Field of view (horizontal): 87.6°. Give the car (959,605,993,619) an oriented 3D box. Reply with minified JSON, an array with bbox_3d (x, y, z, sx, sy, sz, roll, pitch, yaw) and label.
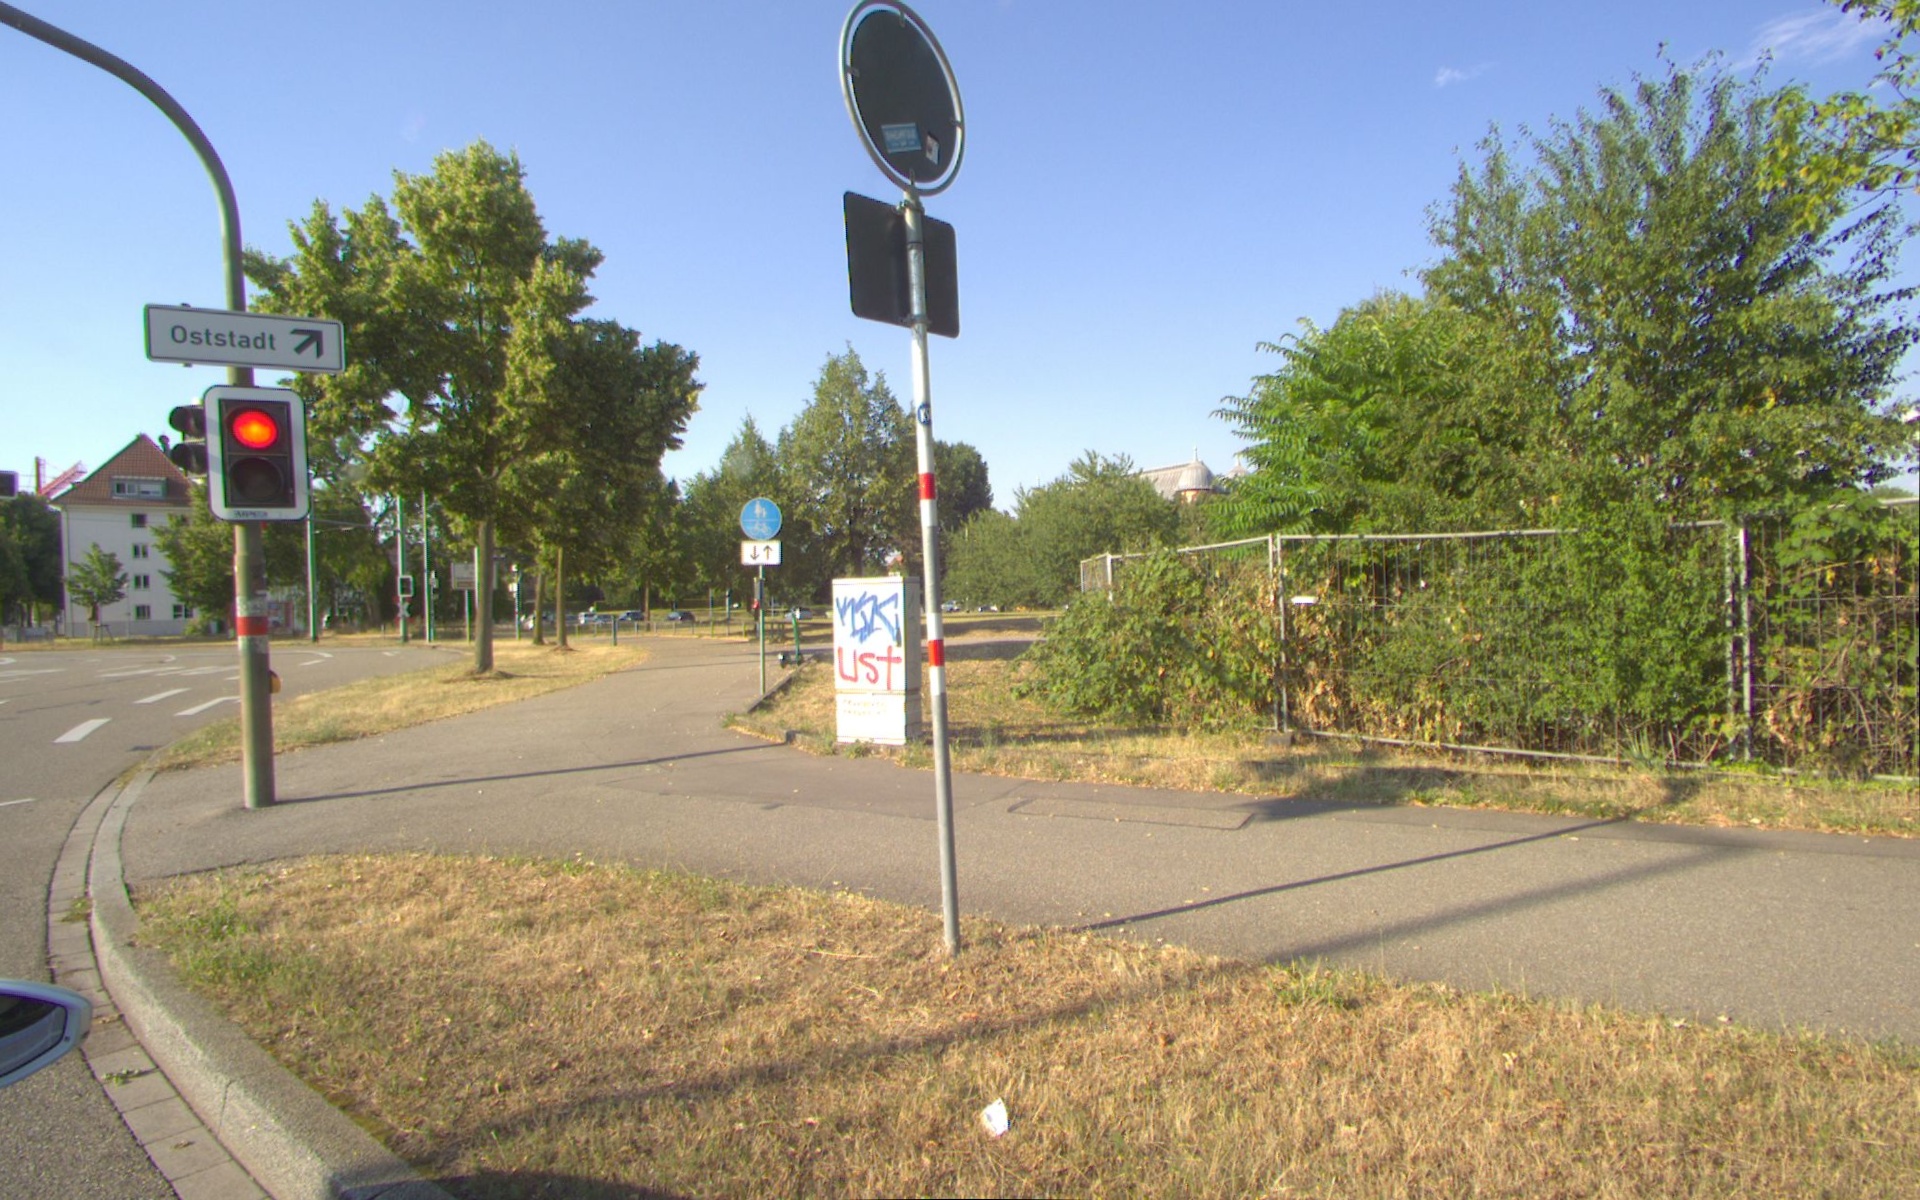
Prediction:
[{"bbox_3d":[1.777,1.316,111.508,1.803,1.421,3.976,-1,-1,-33],"label":"car"}]

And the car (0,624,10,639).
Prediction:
[{"bbox_3d":[-117.021,3.774,121.410,1.973,1.803,3.977,1,-2,-33],"label":"car"}]

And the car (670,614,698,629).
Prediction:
[{"bbox_3d":[-25.655,1.982,92.912,1.583,1.327,3.950,-1,-1,-29],"label":"car"}]

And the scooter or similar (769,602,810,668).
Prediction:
[{"bbox_3d":[-3.267,0.657,19.235,0.336,1.175,1.169,-4,2,8],"label":"scooter or similar"}]

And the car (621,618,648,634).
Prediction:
[{"bbox_3d":[-29.441,2.367,90.595,1.583,1.420,3.950,-1,0,-29],"label":"car"}]

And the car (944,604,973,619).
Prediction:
[{"bbox_3d":[-0.198,1.410,123.778,1.803,1.694,3.976,-1,0,-33],"label":"car"}]

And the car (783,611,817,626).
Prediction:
[{"bbox_3d":[-15.986,1.821,99.960,1.803,1.421,3.976,-1,-1,-33],"label":"car"}]

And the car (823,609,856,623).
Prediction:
[{"bbox_3d":[-12.408,1.642,103.083,1.803,1.421,3.976,-1,-1,-33],"label":"car"}]

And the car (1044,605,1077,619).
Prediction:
[{"bbox_3d":[11.839,1.422,118.463,1.803,1.589,3.975,-1,0,-33],"label":"car"}]

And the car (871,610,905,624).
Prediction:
[{"bbox_3d":[-7.592,1.796,105.568,1.803,1.421,3.976,-1,-1,-33],"label":"car"}]

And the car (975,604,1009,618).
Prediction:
[{"bbox_3d":[3.609,1.264,113.313,1.803,1.421,3.976,-1,-1,-33],"label":"car"}]

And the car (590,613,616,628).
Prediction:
[{"bbox_3d":[-32.126,1.850,90.018,1.583,1.237,3.950,-1,-1,-29],"label":"car"}]

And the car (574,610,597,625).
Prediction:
[{"bbox_3d":[-37.256,1.776,99.613,1.583,1.420,3.950,-1,0,-29],"label":"car"}]

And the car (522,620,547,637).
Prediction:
[{"bbox_3d":[-36.731,2.422,86.430,1.583,1.420,3.950,-1,0,-29],"label":"car"}]

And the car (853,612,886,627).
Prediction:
[{"bbox_3d":[-9.439,2.009,104.175,1.802,1.421,3.976,-3,1,-33],"label":"car"}]

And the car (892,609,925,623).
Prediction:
[{"bbox_3d":[-5.514,1.699,106.985,1.803,1.421,3.976,-1,-1,-33],"label":"car"}]

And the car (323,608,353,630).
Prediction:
[{"bbox_3d":[-48.326,1.511,77.891,1.751,1.639,3.950,-1,0,-29],"label":"car"}]

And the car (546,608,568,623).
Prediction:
[{"bbox_3d":[-39.477,1.526,98.042,1.583,1.420,3.950,-1,0,-29],"label":"car"}]
